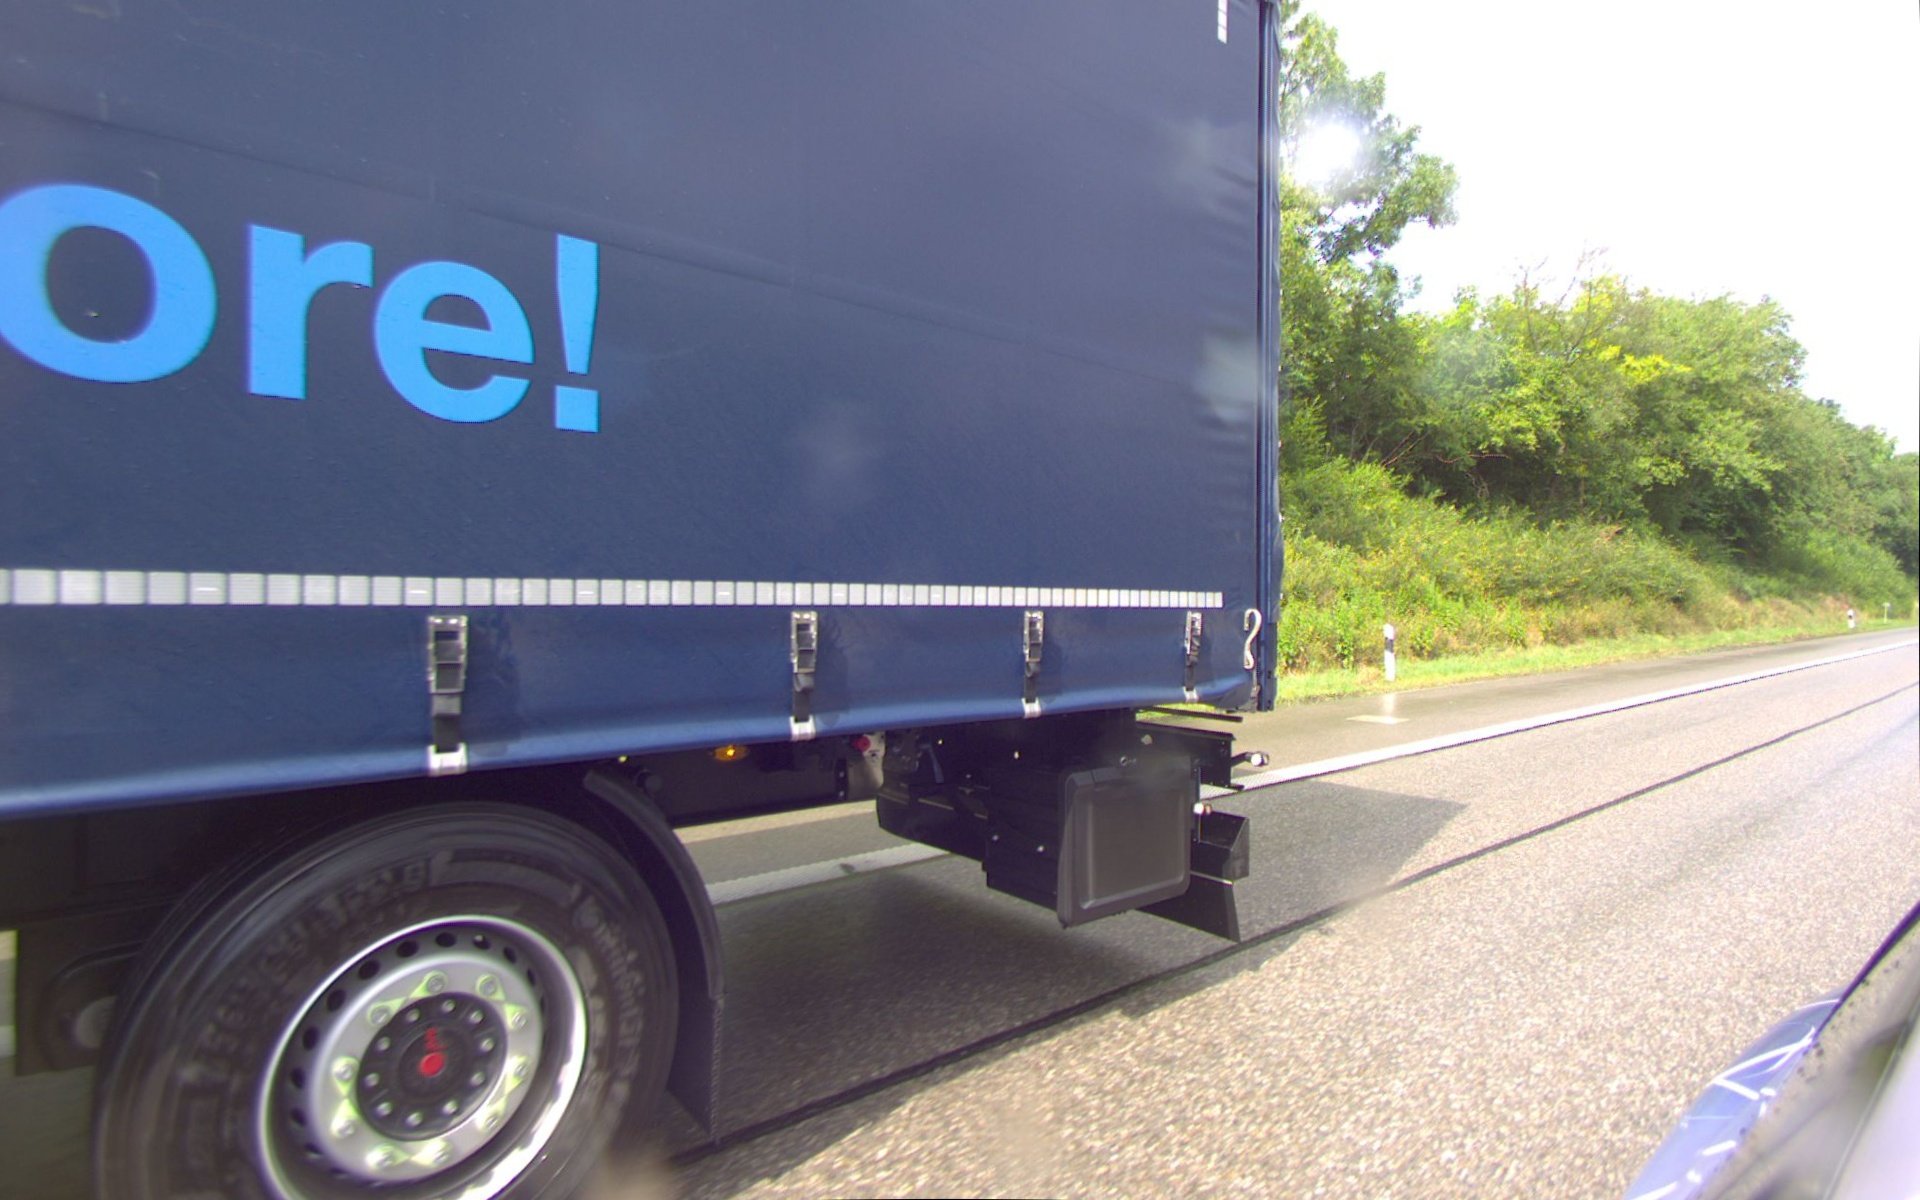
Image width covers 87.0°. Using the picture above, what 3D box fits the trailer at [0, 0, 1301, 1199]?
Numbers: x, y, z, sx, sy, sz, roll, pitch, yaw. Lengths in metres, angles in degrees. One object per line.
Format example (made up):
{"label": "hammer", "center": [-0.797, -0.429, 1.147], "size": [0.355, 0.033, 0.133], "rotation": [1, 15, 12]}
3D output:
{"label": "trailer", "center": [-4.867, -0.631, 0.129], "size": [13.817, 4.046, 2.639], "rotation": [-1, 0, -41]}
